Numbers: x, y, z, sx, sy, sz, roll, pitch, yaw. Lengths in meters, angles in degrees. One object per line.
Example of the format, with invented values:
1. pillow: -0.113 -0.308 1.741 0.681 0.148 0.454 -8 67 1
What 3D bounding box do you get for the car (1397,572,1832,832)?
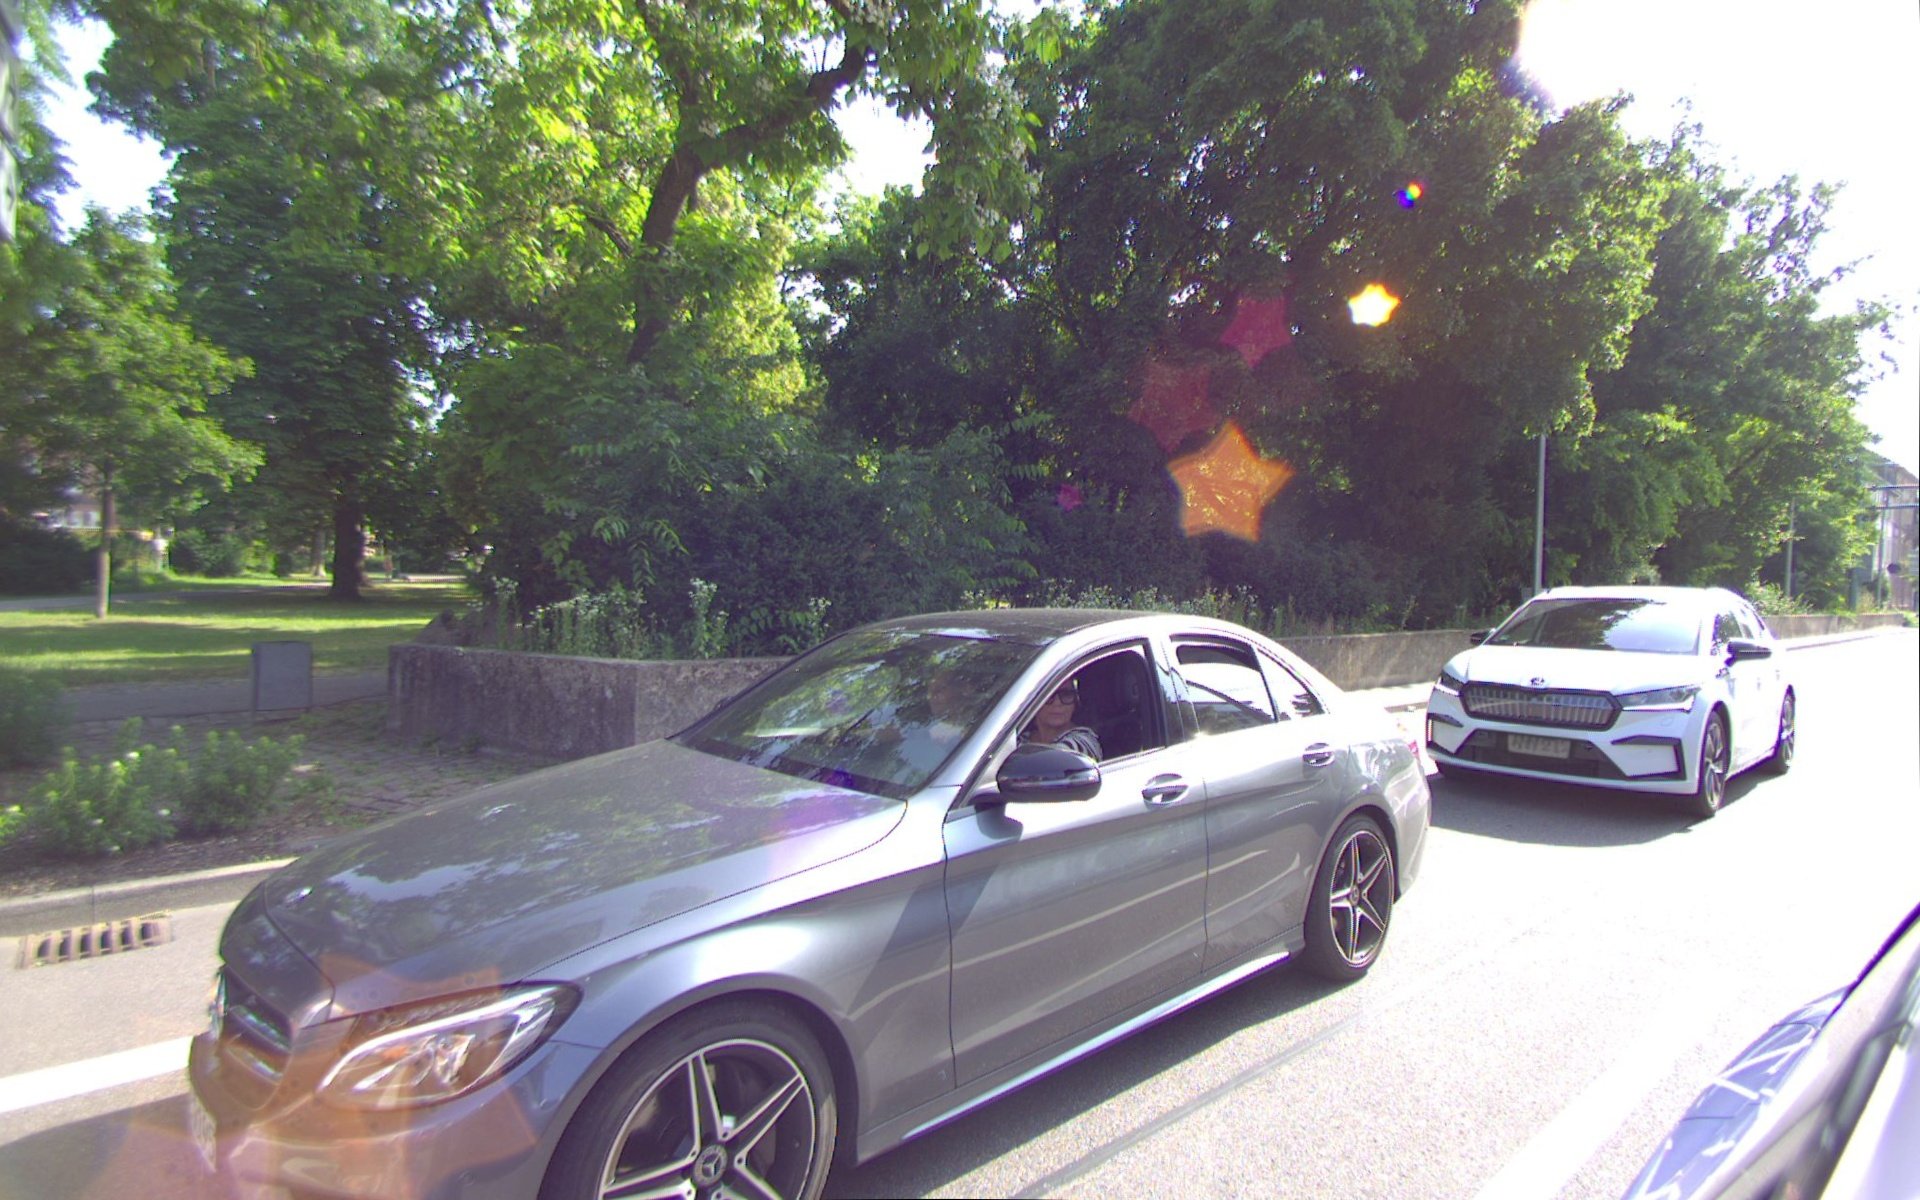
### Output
1. car: 5.491 0.603 8.277 4.176 1.590 1.896 0 1 -41
